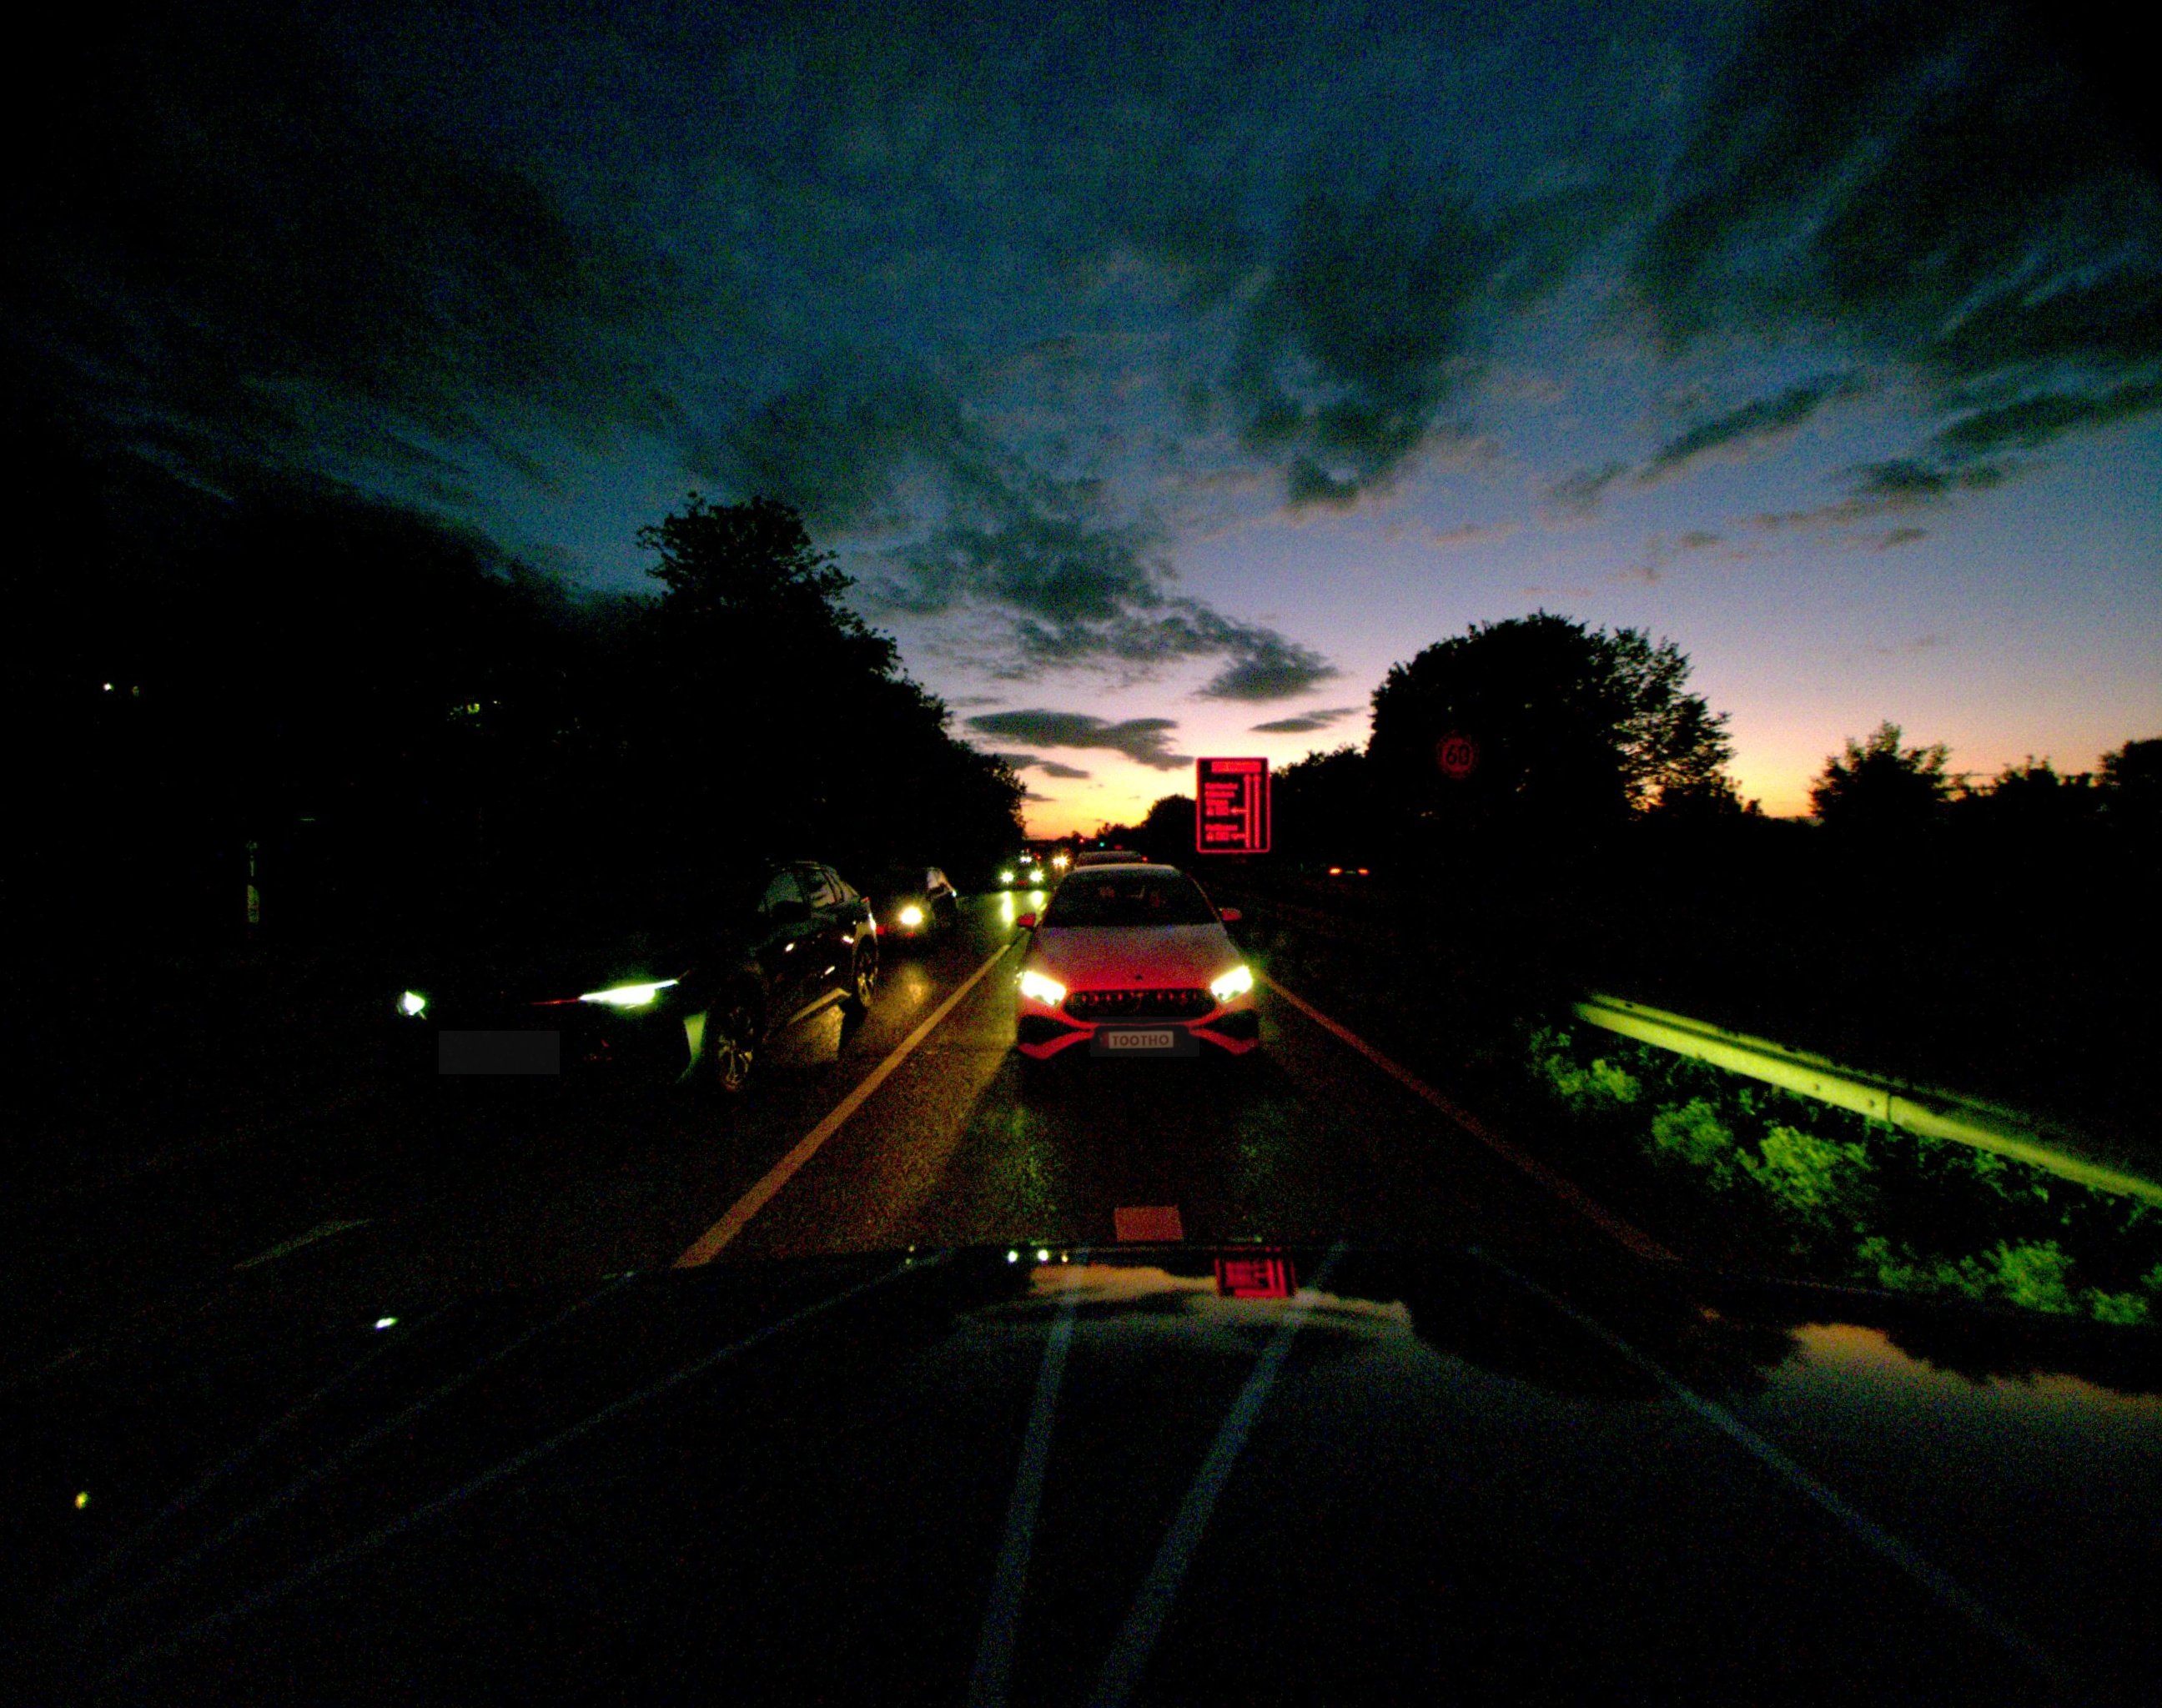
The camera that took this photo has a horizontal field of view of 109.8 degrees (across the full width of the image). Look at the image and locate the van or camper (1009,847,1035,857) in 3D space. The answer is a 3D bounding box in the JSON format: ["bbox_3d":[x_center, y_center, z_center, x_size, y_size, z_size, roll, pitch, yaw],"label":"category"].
[{"bbox_3d":[-18.592,-0.625,239.102,3.960,3.107,9.915,0,0,-34],"label":"van or camper"}]

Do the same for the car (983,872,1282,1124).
[{"bbox_3d":[0.394,0.976,7.143,1.819,1.428,4.647,-3,0,2],"label":"car"}]

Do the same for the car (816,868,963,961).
[{"bbox_3d":[-3.341,0.996,13.978,1.621,1.405,3.756,-1,0,2],"label":"car"}]

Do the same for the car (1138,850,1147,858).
[{"bbox_3d":[13.823,0.034,170.881,1.781,1.551,4.000,-2,1,1],"label":"car"}]

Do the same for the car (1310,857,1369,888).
[{"bbox_3d":[13.615,0.923,40.319,1.632,1.496,4.591,0,0,1],"label":"car"}]

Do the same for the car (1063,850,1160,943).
[{"bbox_3d":[0.637,0.810,16.334,1.760,1.692,4.250,-2,0,2],"label":"car"}]

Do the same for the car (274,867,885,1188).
[{"bbox_3d":[-3.178,0.949,6.111,1.901,1.547,4.301,-3,0,2],"label":"car"}]

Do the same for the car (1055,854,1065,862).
[{"bbox_3d":[-3.669,0.707,133.139,1.606,1.291,3.552,-2,1,-1],"label":"car"}]

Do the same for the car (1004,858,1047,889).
[{"bbox_3d":[-2.784,0.973,39.070,1.819,1.360,3.999,-2,1,1],"label":"car"}]
